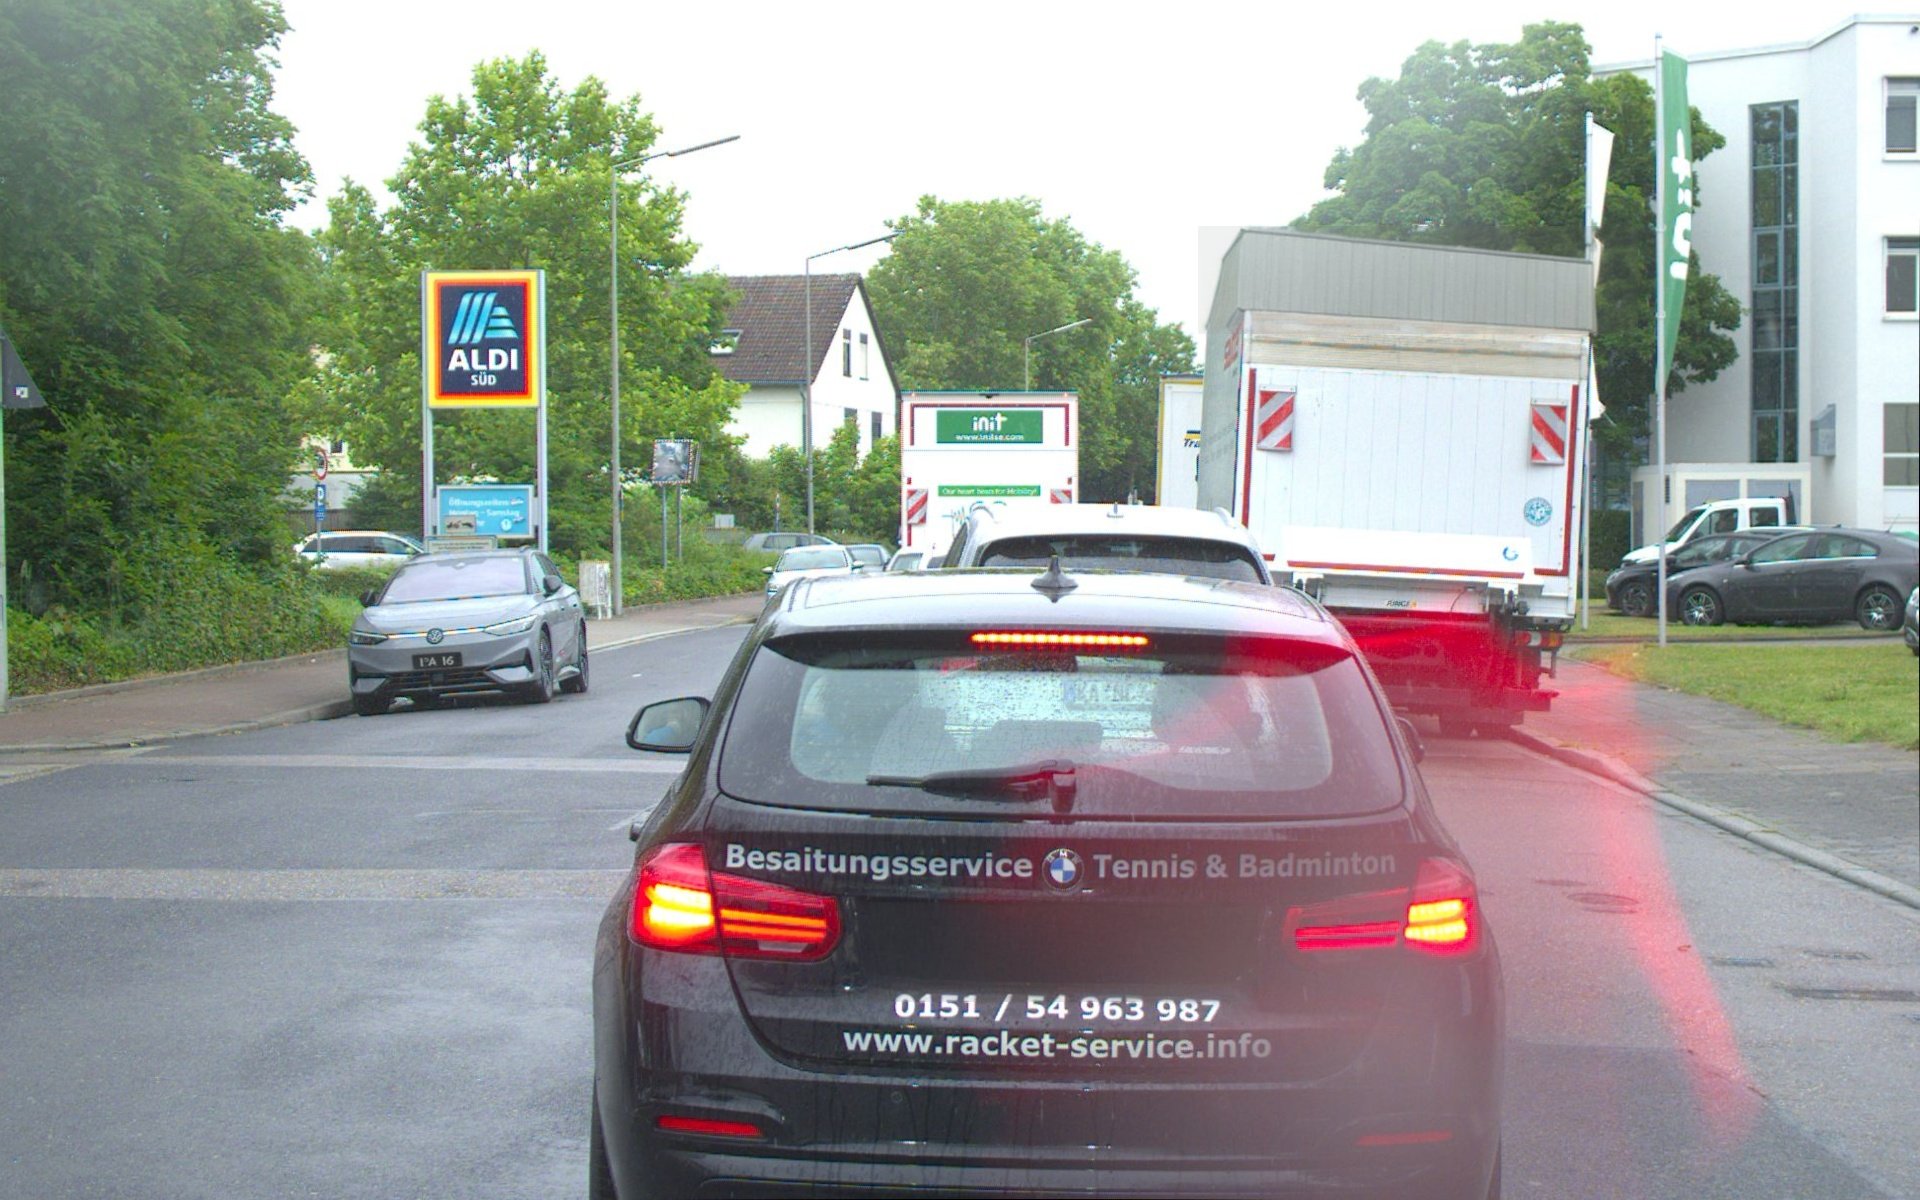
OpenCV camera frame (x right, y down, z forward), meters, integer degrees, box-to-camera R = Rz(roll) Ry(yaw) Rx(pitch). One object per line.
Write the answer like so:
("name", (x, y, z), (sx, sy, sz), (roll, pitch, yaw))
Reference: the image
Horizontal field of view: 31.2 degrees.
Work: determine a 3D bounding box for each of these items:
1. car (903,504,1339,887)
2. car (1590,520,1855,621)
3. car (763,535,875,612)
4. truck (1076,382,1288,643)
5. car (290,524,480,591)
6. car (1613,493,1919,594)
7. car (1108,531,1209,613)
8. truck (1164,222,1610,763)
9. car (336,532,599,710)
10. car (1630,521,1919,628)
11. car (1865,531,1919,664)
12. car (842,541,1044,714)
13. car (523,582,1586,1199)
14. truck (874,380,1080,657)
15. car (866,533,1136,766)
("car", (0.652, 0.374, 16.414), (1.804, 1.581, 4.000), (1, 1, -1))
("car", (12.301, -0.503, 55.590), (3.778, 1.391, 1.723), (5, 4, 41))
("car", (-2.725, -0.546, 67.230), (1.706, 1.362, 4.601), (-2, 1, 3))
("truck", (3.291, -1.330, 52.818), (2.741, 3.598, 7.750), (2, 1, 1))
("car", (-13.214, -0.987, 79.151), (3.987, 1.535, 1.910), (0, 1, 2))
("car", (17.155, -1.179, 72.155), (6.452, 2.007, 2.000), (1, 0, -3))
("car", (3.852, -0.567, 67.002), (1.904, 1.535, 4.000), (0, 1, 3))
("truck", (3.351, -0.873, 29.441), (2.741, 3.776, 9.299), (3, 1, 2))
("car", (-4.811, 0.156, 34.194), (1.809, 1.523, 4.748), (-4, 1, 0))
("car", (12.076, -0.383, 49.016), (4.672, 1.463, 1.787), (1, 1, 39))
("car", (11.559, -0.051, 37.179), (3.758, 1.388, 1.706), (-1, 2, -43))
("car", (-0.178, 0.221, 33.112), (1.804, 1.547, 4.000), (1, 1, -1))
("car", (0.137, 0.683, 7.882), (1.804, 1.390, 4.000), (1, 1, -1))
("truck", (0.265, -1.221, 45.528), (2.341, 3.245, 7.751), (3, 4, 1))
("car", (0.253, 0.308, 25.203), (1.804, 1.547, 4.000), (1, 1, -1))
